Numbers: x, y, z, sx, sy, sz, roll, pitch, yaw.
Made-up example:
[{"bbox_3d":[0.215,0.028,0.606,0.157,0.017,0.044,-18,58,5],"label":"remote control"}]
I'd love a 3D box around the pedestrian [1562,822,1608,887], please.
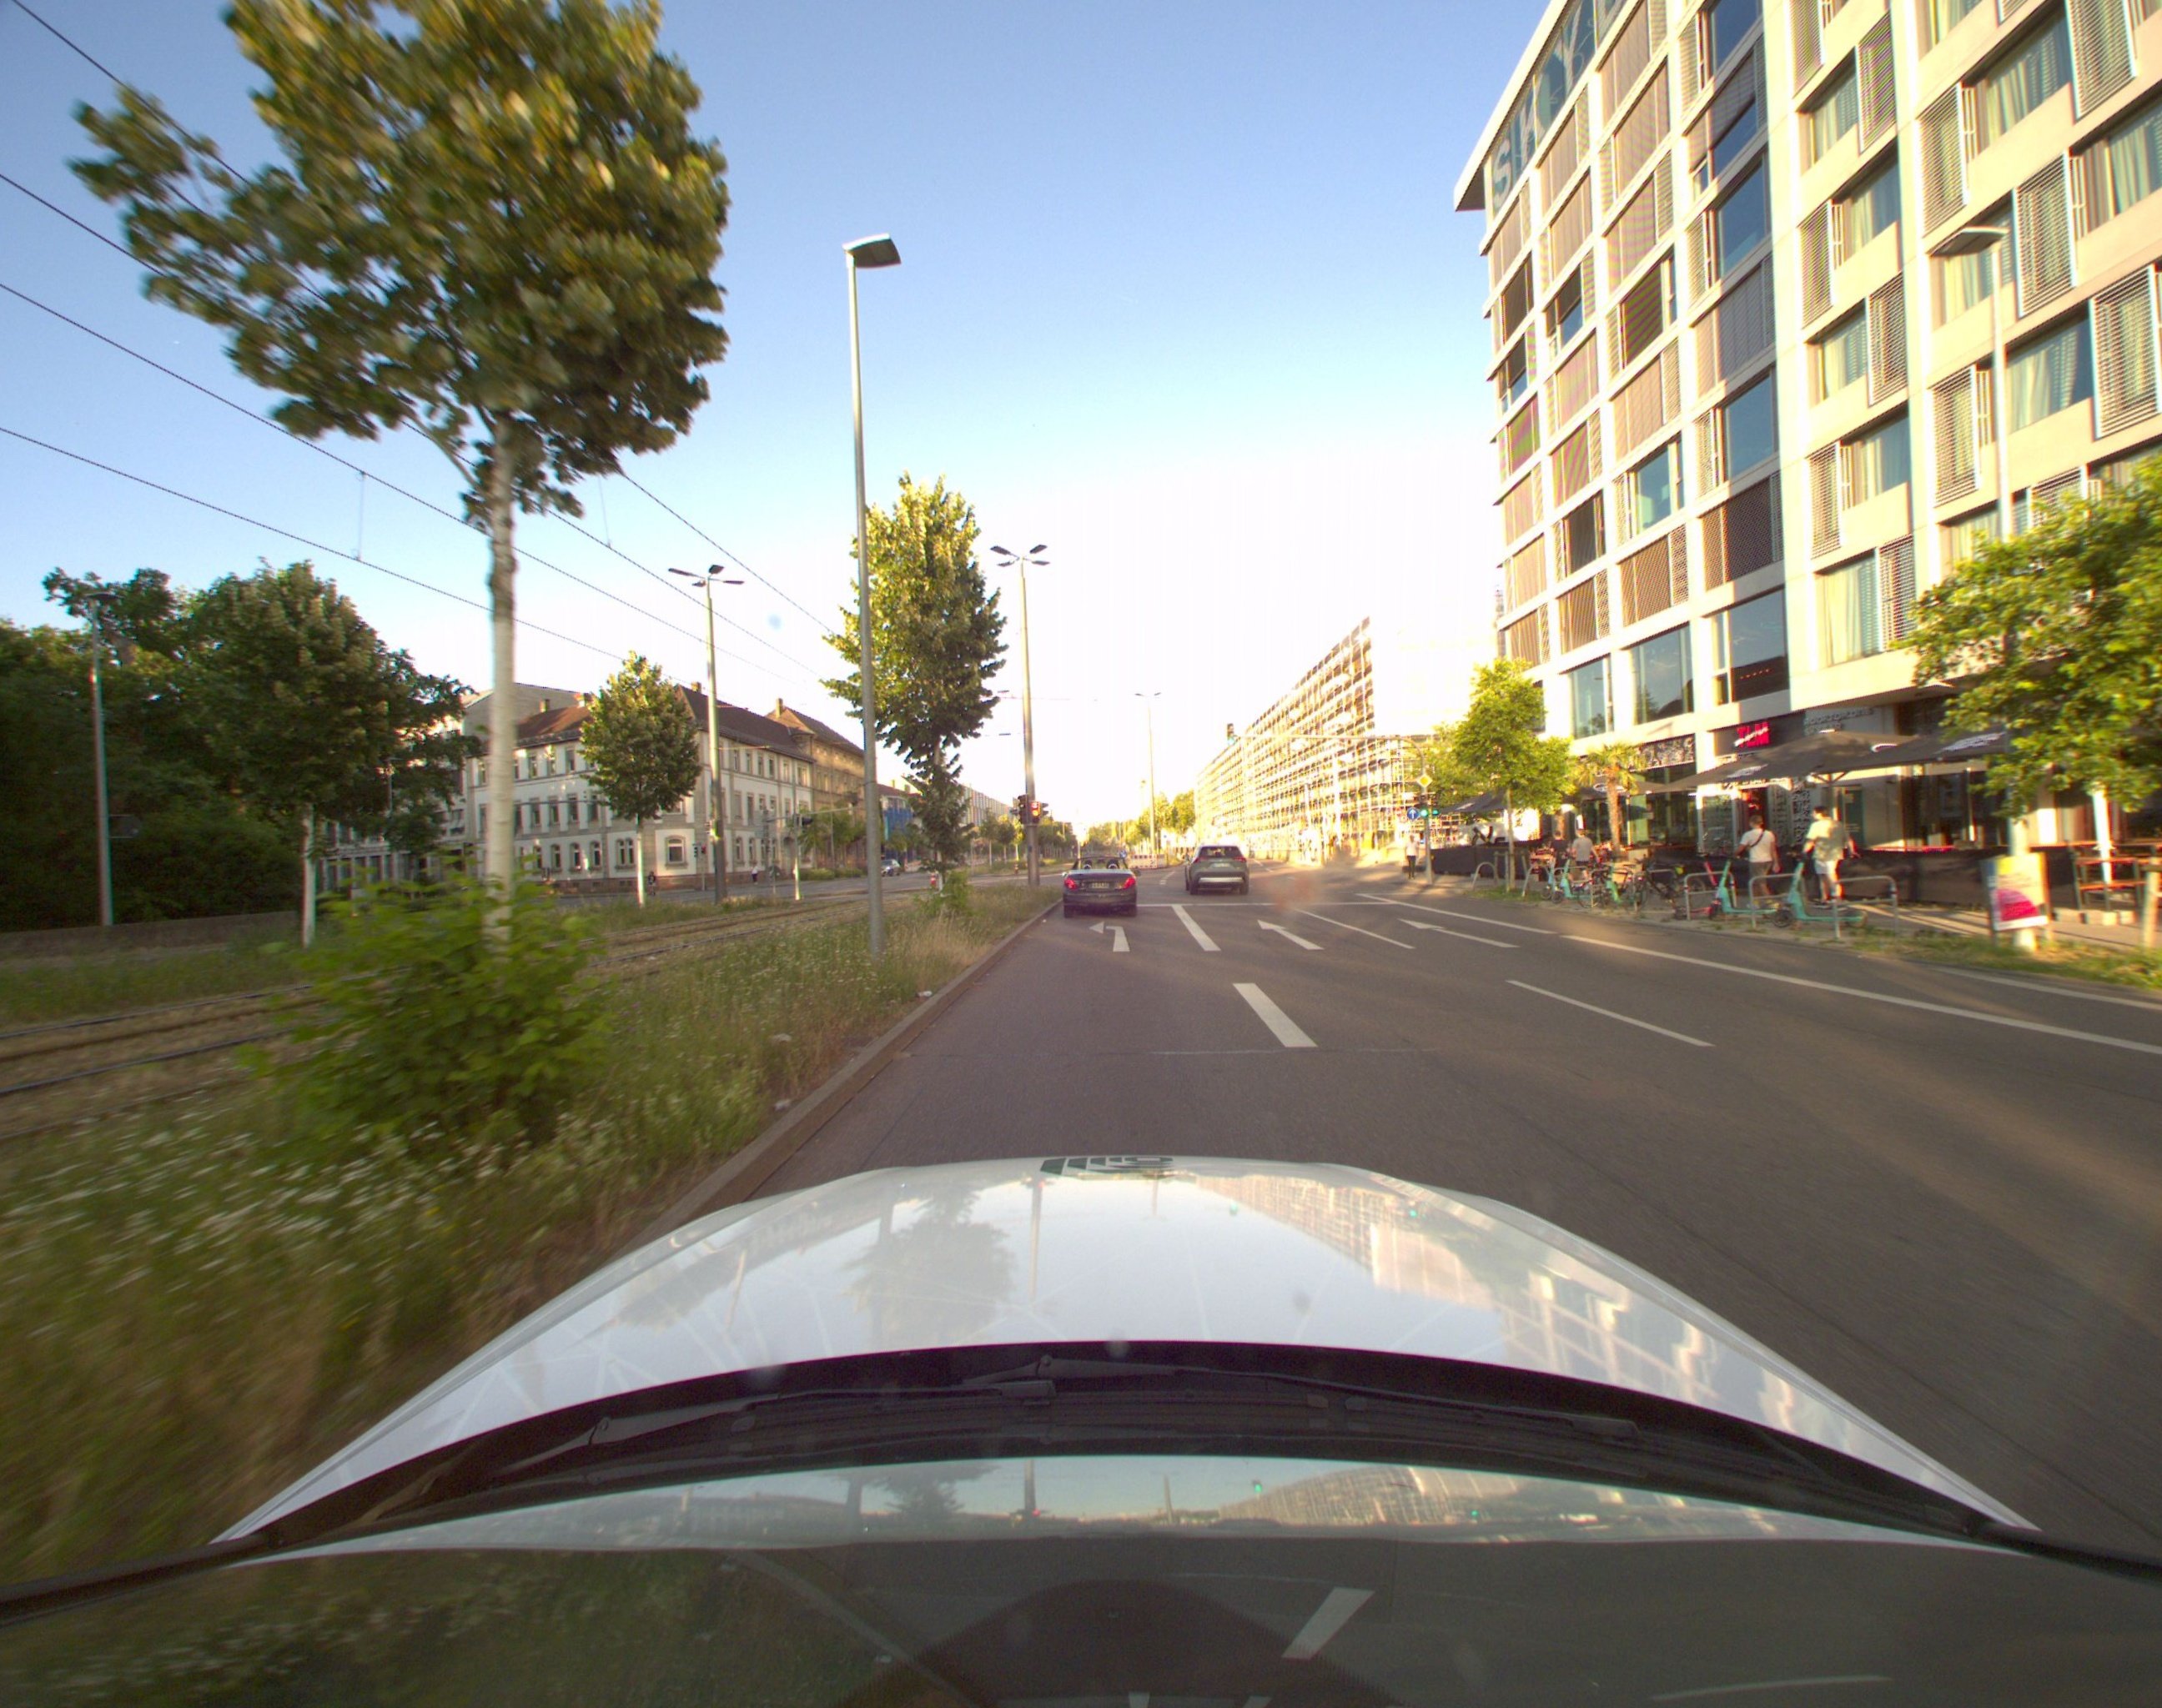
[{"bbox_3d":[14.083,0.020,22.767,0.682,1.734,0.761,-5,0,1],"label":"pedestrian"}]

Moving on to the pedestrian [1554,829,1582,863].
[{"bbox_3d":[20.097,-0.349,33.626,0.740,1.319,0.717,-5,0,14],"label":"pedestrian"}]

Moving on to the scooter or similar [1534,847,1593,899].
[{"bbox_3d":[12.151,0.468,20.517,1.049,1.223,0.598,-4,0,-3],"label":"scooter or similar"}]

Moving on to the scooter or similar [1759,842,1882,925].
[{"bbox_3d":[11.774,0.476,13.006,1.280,1.218,0.539,-5,-1,25],"label":"scooter or similar"}]

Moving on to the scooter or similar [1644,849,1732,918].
[{"bbox_3d":[11.349,0.543,15.246,1.151,1.191,0.510,-5,-2,3],"label":"scooter or similar"}]

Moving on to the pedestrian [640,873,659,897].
[{"bbox_3d":[-26.788,1.923,50.596,0.601,1.458,0.937,0,0,3],"label":"pedestrian"}]

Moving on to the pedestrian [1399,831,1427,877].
[{"bbox_3d":[13.624,-0.011,33.424,0.765,1.847,0.679,-3,0,1],"label":"pedestrian"}]

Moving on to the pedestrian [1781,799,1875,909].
[{"bbox_3d":[13.627,0.002,14.889,0.819,1.888,0.868,-4,-1,10],"label":"pedestrian"}]

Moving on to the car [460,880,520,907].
[{"bbox_3d":[-38.867,2.555,53.566,3.948,1.555,1.801,0,1,32],"label":"car"}]

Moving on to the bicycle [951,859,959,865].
[{"bbox_3d":[-18.452,1.183,119.026,0.769,0.945,1.642,0,0,4],"label":"bicycle"}]

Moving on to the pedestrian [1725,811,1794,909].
[{"bbox_3d":[12.894,0.116,15.496,0.572,1.786,0.831,-4,-1,12],"label":"pedestrian"}]

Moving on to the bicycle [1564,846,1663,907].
[{"bbox_3d":[11.884,0.494,18.196,1.789,1.193,0.567,-5,0,-3],"label":"bicycle"}]

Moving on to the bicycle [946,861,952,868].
[{"bbox_3d":[-18.639,1.456,114.939,0.588,0.989,1.555,0,0,-1],"label":"bicycle"}]

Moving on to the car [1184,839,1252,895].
[{"bbox_3d":[4.487,0.385,27.213,1.826,1.672,4.287,-1,1,4],"label":"car"}]

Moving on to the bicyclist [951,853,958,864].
[{"bbox_3d":[-18.453,0.706,119.026,0.769,1.570,0.793,0,0,4],"label":"bicyclist"}]

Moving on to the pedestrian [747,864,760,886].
[{"bbox_3d":[-26.278,1.651,65.395,0.700,1.715,0.812,-1,0,-2],"label":"pedestrian"}]

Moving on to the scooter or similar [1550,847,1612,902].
[{"bbox_3d":[11.857,0.484,19.344,1.054,1.223,0.551,-5,0,11],"label":"scooter or similar"}]

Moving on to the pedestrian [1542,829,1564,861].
[{"bbox_3d":[20.145,-0.385,34.745,0.607,1.319,0.624,-5,0,20],"label":"pedestrian"}]

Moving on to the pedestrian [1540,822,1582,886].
[{"bbox_3d":[13.312,-0.003,22.585,0.651,1.702,0.689,-4,0,1],"label":"pedestrian"}]

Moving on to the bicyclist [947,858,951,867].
[{"bbox_3d":[-18.638,1.227,114.939,0.588,1.266,0.459,0,0,-2],"label":"bicyclist"}]

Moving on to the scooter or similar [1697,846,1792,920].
[{"bbox_3d":[11.768,0.506,14.476,1.119,1.213,0.534,-5,-2,17],"label":"scooter or similar"}]

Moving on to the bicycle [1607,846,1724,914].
[{"bbox_3d":[11.748,0.510,16.401,1.840,1.181,0.608,-5,0,1],"label":"bicycle"}]

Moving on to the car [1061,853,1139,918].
[{"bbox_3d":[0.487,0.690,19.860,1.668,1.352,4.002,-1,0,2],"label":"car"}]

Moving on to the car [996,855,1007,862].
[{"bbox_3d":[-16.275,0.975,167.268,1.650,1.431,3.899,0,1,4],"label":"car"}]

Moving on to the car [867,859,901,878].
[{"bbox_3d":[-18.945,1.404,78.401,1.985,1.580,4.127,-4,0,3],"label":"car"}]

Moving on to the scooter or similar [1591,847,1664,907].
[{"bbox_3d":[11.832,0.489,17.658,1.207,1.201,0.479,-5,0,-3],"label":"scooter or similar"}]
